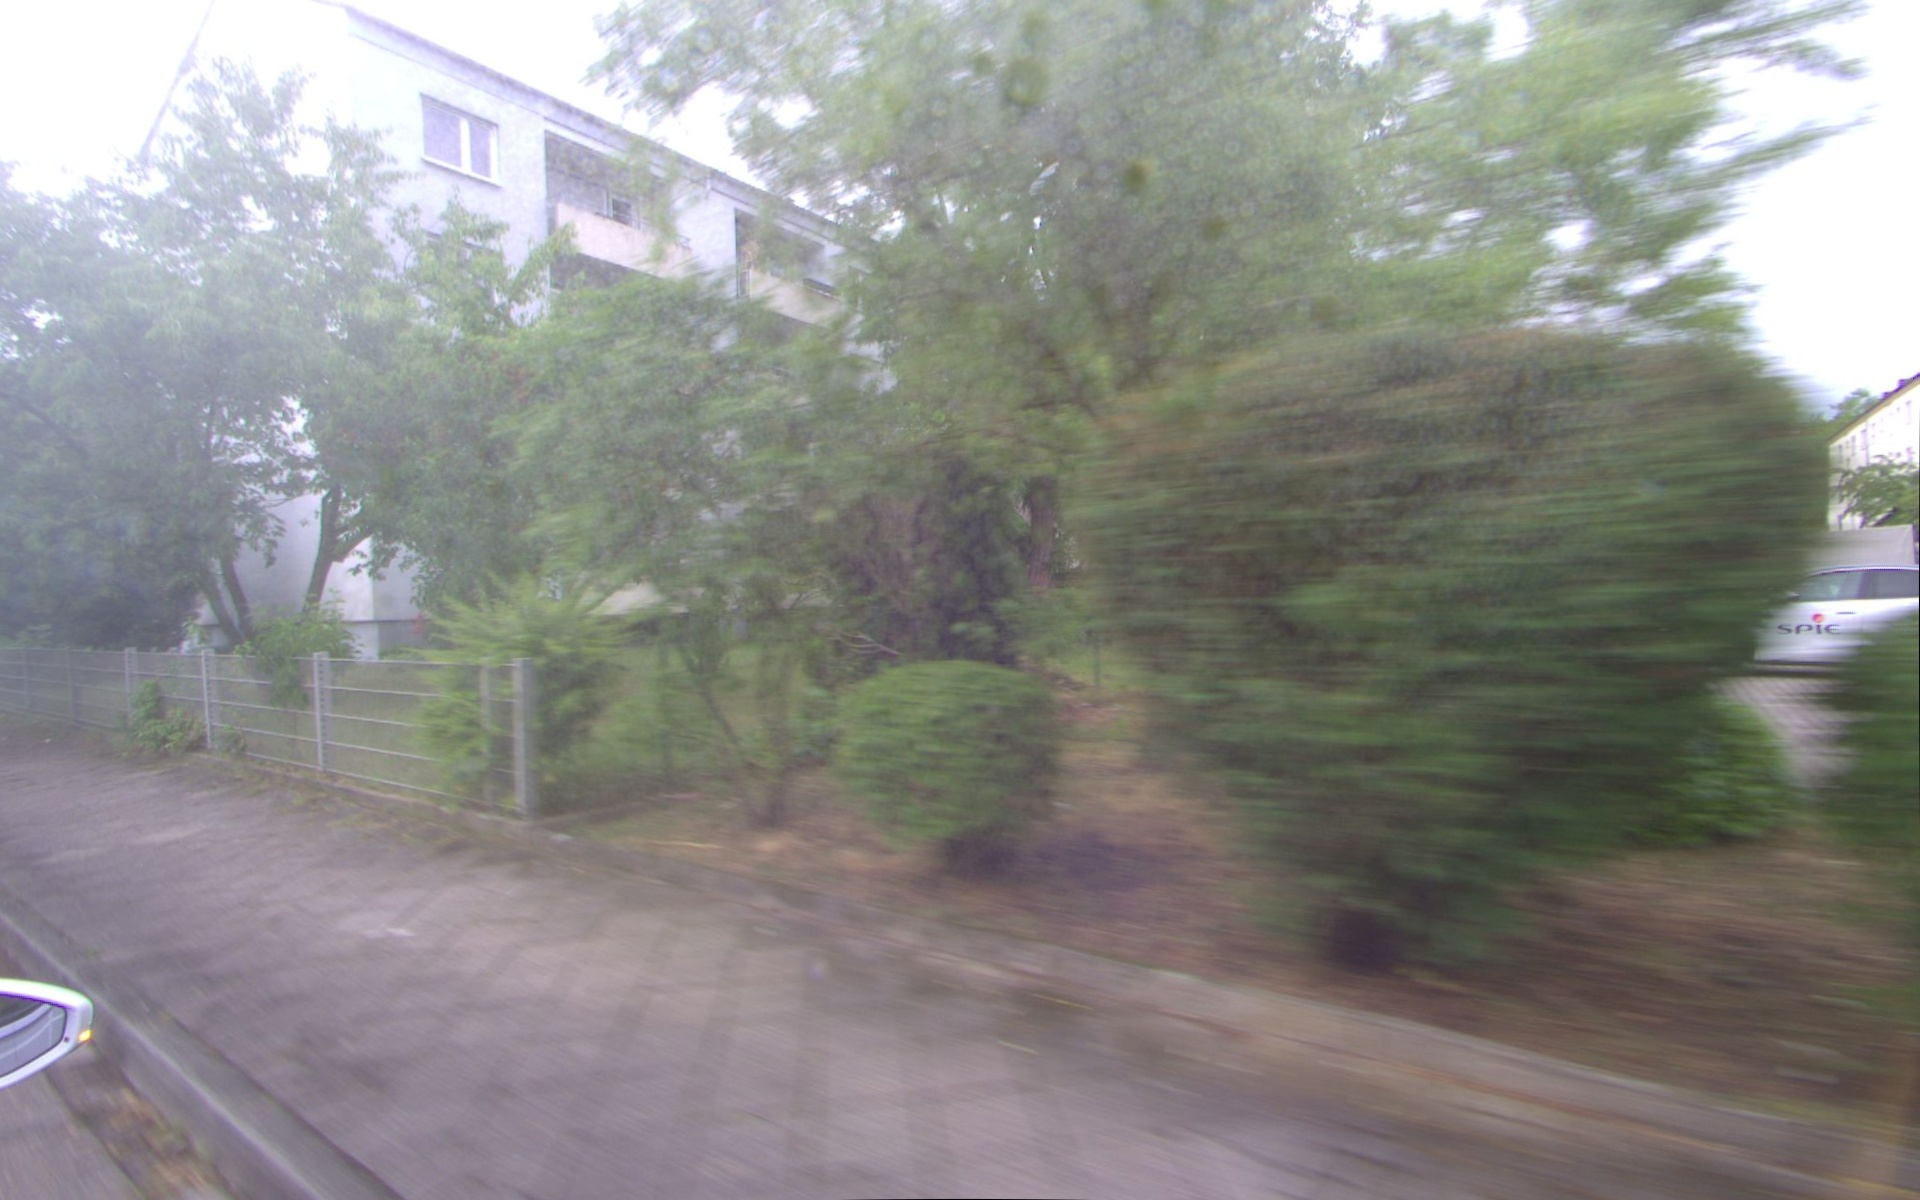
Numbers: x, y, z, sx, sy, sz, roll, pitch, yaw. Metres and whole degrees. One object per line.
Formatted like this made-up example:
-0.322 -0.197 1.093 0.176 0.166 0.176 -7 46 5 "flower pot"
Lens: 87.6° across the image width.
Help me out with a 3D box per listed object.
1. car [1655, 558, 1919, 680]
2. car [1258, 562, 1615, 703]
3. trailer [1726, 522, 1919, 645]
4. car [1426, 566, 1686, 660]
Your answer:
12.738 0.250 14.379 4.493 1.610 1.975 -1 0 36 "car"
6.024 0.365 12.754 3.857 1.531 2.015 -1 0 34 "car"
19.850 -0.330 22.088 4.563 2.558 1.930 -1 0 35 "trailer"
10.936 0.228 18.608 3.942 1.573 1.989 -1 1 31 "car"
